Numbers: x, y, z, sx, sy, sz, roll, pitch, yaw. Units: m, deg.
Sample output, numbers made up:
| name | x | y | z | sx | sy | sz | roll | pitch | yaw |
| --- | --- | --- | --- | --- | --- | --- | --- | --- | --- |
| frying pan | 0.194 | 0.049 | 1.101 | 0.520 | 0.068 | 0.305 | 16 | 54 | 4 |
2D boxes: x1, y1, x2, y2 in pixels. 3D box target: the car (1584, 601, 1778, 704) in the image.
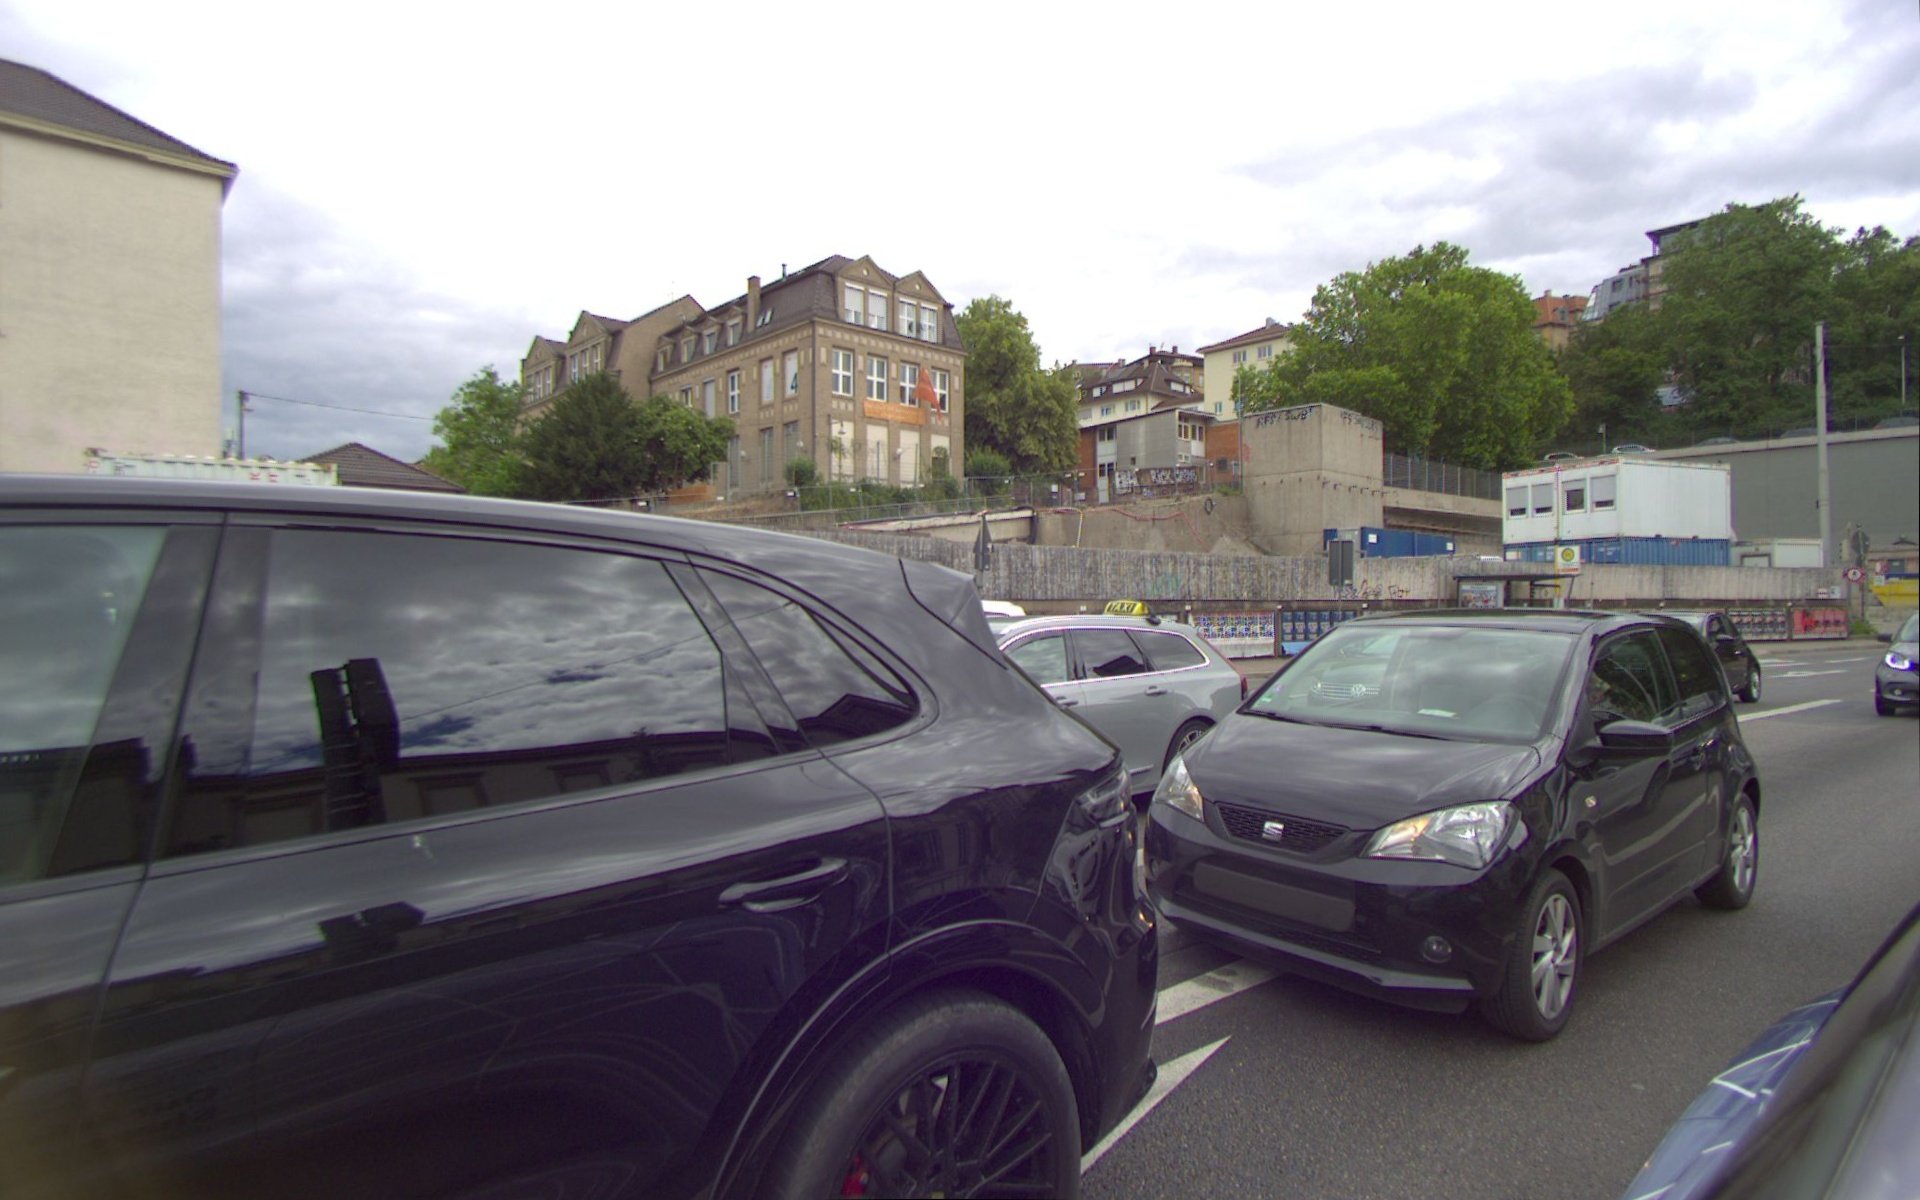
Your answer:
| name | x | y | z | sx | sy | sz | roll | pitch | yaw |
| --- | --- | --- | --- | --- | --- | --- | --- | --- | --- |
| car | 11.507 | 0.739 | 16.067 | 3.740 | 1.383 | 1.679 | -1 | 0 | -41 |

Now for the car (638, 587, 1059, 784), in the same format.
| name | x | y | z | sx | sy | sz | roll | pitch | yaw |
| --- | --- | --- | --- | --- | --- | --- | --- | --- | --- |
| car | -1.007 | 0.699 | 10.489 | 4.136 | 1.645 | 1.679 | -1 | 0 | -41 |

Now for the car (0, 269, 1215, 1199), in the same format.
| name | x | y | z | sx | sy | sz | roll | pitch | yaw |
| --- | --- | --- | --- | --- | --- | --- | --- | --- | --- |
| car | -1.672 | 0.541 | 1.567 | 4.406 | 1.736 | 1.827 | -1 | 0 | -41 |

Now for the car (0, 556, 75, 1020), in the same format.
| name | x | y | z | sx | sy | sz | roll | pitch | yaw |
| --- | --- | --- | --- | --- | --- | --- | --- | --- | --- |
| car | -5.303 | 0.680 | 3.049 | 3.930 | 1.645 | 1.679 | -1 | 0 | -41 |

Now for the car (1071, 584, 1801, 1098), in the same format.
| name | x | y | z | sx | sy | sz | roll | pitch | yaw |
| --- | --- | --- | --- | --- | --- | --- | --- | --- | --- |
| car | 2.437 | 0.671 | 4.802 | 3.636 | 1.476 | 1.827 | -1 | 0 | -41 |

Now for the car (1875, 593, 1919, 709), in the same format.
| name | x | y | z | sx | sy | sz | roll | pitch | yaw |
| --- | --- | --- | --- | --- | --- | --- | --- | --- | --- |
| car | 14.543 | 0.695 | 14.332 | 3.508 | 1.563 | 1.721 | 0 | 0 | -37 |

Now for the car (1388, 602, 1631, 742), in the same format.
| name | x | y | z | sx | sy | sz | roll | pitch | yaw |
| --- | --- | --- | --- | --- | --- | --- | --- | --- | --- |
| car | 6.826 | 0.771 | 12.488 | 3.100 | 1.449 | 1.664 | -1 | 0 | -41 |

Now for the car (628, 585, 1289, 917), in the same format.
| name | x | y | z | sx | sy | sz | roll | pitch | yaw |
| --- | --- | --- | --- | --- | --- | --- | --- | --- | --- |
| car | 0.270 | 0.723 | 7.273 | 4.725 | 1.645 | 1.827 | -1 | 0 | -41 |
